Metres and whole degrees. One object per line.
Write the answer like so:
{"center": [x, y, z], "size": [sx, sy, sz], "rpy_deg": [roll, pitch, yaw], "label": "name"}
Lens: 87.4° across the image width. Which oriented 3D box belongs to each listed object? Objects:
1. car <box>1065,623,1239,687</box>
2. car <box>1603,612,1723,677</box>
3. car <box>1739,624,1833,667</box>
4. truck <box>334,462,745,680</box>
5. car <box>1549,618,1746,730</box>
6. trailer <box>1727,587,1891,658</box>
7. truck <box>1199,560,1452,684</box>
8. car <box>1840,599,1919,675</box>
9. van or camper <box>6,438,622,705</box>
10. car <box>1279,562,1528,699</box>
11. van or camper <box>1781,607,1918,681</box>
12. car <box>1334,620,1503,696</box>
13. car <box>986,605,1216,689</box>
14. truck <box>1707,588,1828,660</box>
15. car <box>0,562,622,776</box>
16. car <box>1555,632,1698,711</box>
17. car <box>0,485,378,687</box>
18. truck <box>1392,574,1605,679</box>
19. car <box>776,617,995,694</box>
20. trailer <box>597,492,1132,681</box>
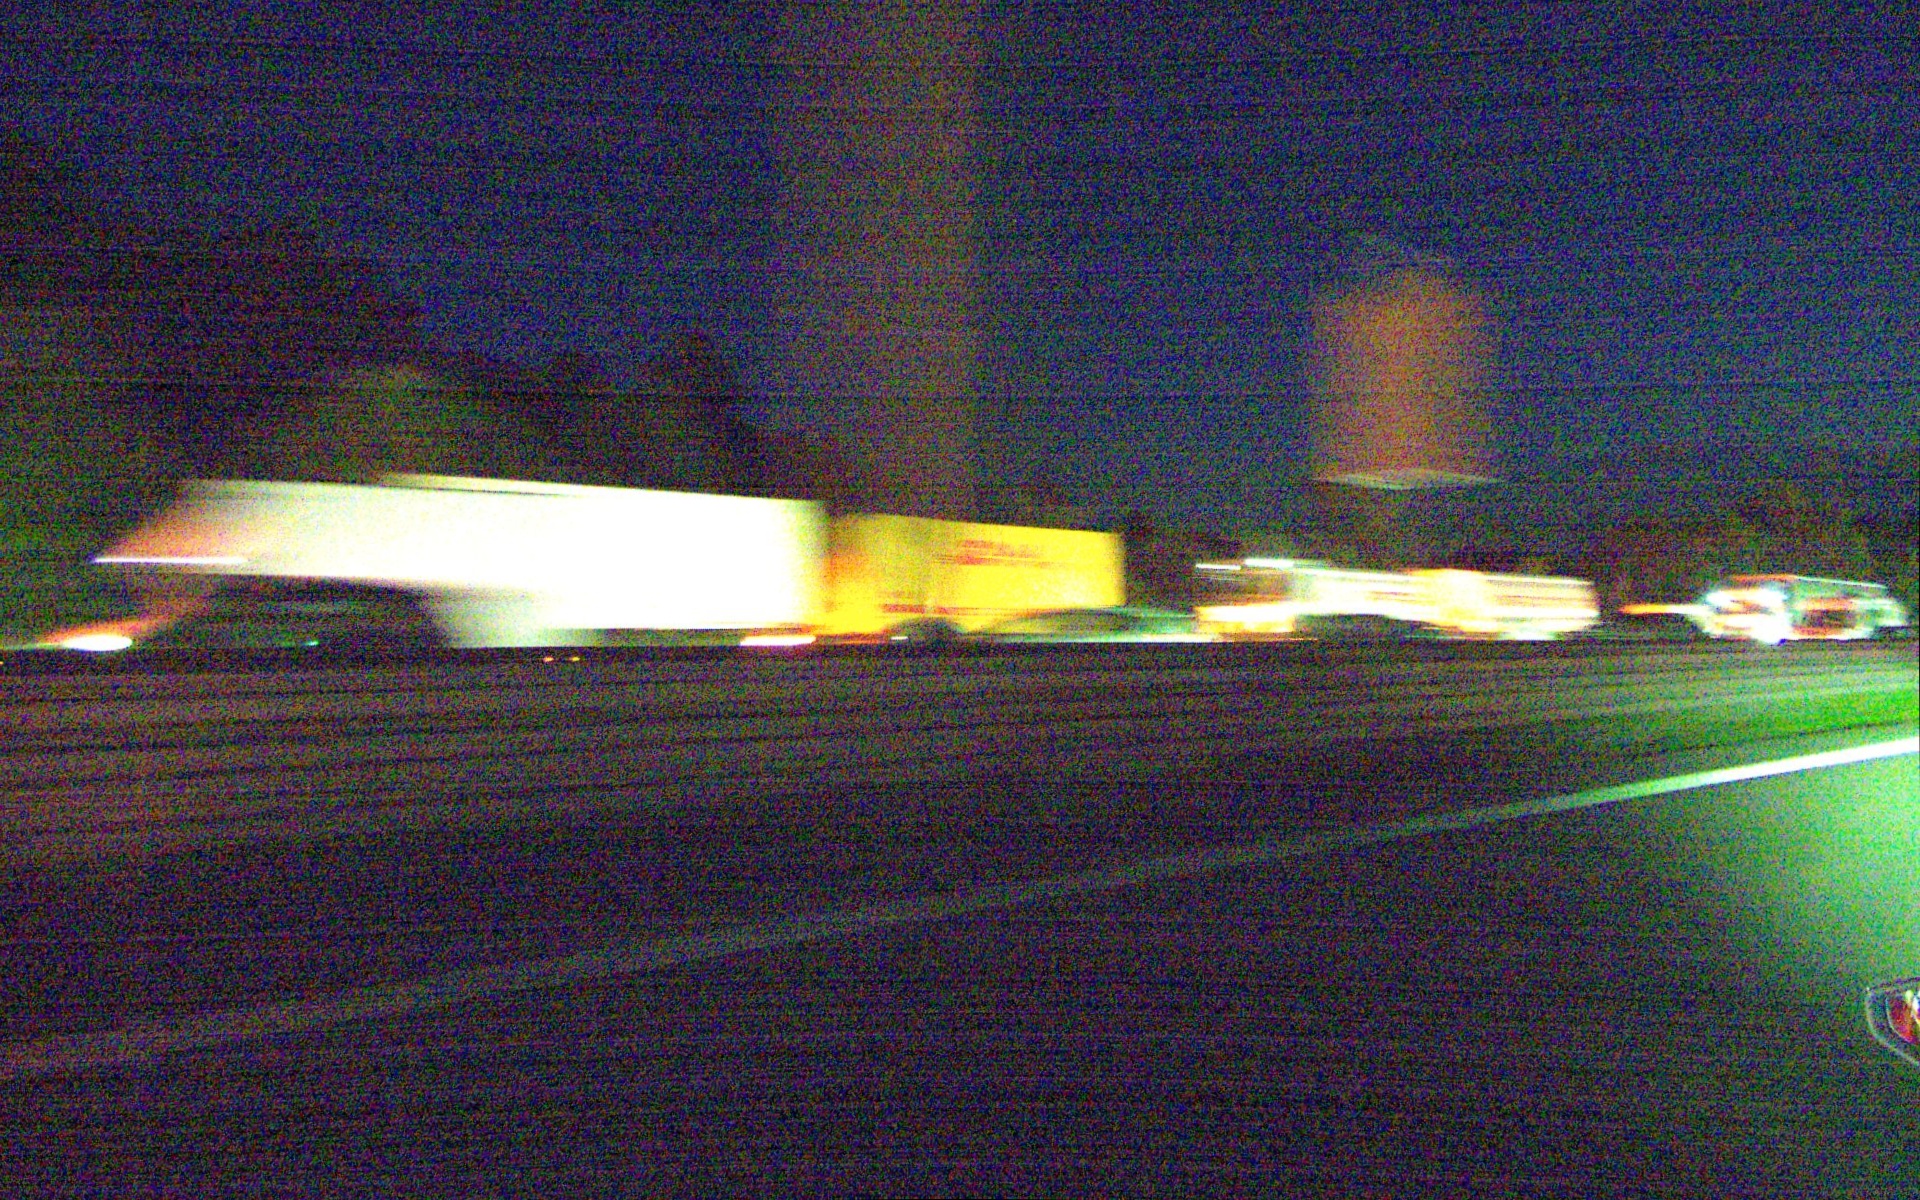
{"center": [4.504, 1.270, 23.369], "size": [3.954, 1.372, 1.562], "rpy_deg": [2, -1, -31], "label": "car"}
{"center": [32.768, 2.041, 46.753], "size": [6.289, 2.755, 2.300], "rpy_deg": [2, 1, -33], "label": "car"}
{"center": [36.962, 2.053, 44.911], "size": [4.267, 1.668, 1.982], "rpy_deg": [3, 0, -33], "label": "car"}
{"center": [-8.326, -0.367, 20.316], "size": [7.183, 3.724, 2.867], "rpy_deg": [2, -1, -32], "label": "truck"}
{"center": [14.580, 1.540, 21.262], "size": [3.957, 2.040, 1.982], "rpy_deg": [3, 0, -33], "label": "car"}
{"center": [47.315, 1.318, 55.758], "size": [13.287, 3.488, 2.944], "rpy_deg": [2, 0, -32], "label": "trailer"}
{"center": [10.256, 0.697, 27.892], "size": [7.370, 3.025, 2.543], "rpy_deg": [3, -1, -32], "label": "truck"}
{"center": [27.762, 1.118, 29.365], "size": [3.957, 2.040, 1.982], "rpy_deg": [3, 0, -33], "label": "car"}
{"center": [-9.235, -0.224, 15.390], "size": [7.308, 3.315, 2.420], "rpy_deg": [2, -1, -31], "label": "van or camper"}
{"center": [7.521, 0.516, 16.957], "size": [3.959, 2.040, 1.981], "rpy_deg": [3, 0, -34], "label": "car"}
{"center": [35.039, 1.737, 39.466], "size": [7.523, 2.667, 2.072], "rpy_deg": [2, -1, -33], "label": "van or camper"}
{"center": [10.554, 1.340, 23.046], "size": [3.937, 1.506, 1.687], "rpy_deg": [3, 0, -34], "label": "car"}
{"center": [2.578, 0.841, 18.096], "size": [3.952, 1.372, 1.563], "rpy_deg": [2, -1, -29], "label": "car"}
{"center": [42.345, 1.265, 52.662], "size": [6.291, 3.488, 2.944], "rpy_deg": [2, 0, -32], "label": "truck"}
{"center": [-4.947, 0.511, 8.111], "size": [3.954, 1.372, 1.562], "rpy_deg": [2, -1, -31], "label": "car"}
{"center": [19.413, 2.066, 29.228], "size": [3.957, 2.040, 1.982], "rpy_deg": [3, 0, -33], "label": "car"}
{"center": [-9.165, -0.112, 11.740], "size": [3.957, 2.040, 1.982], "rpy_deg": [3, 0, -33], "label": "car"}
{"center": [17.599, 0.940, 32.685], "size": [7.320, 3.025, 2.748], "rpy_deg": [3, -1, -32], "label": "truck"}
{"center": [-1.440, 1.076, 19.805], "size": [3.954, 1.372, 1.706], "rpy_deg": [2, -1, -31], "label": "car"}
{"center": [-1.719, -0.038, 24.396], "size": [12.985, 3.724, 2.867], "rpy_deg": [2, -1, -32], "label": "trailer"}
